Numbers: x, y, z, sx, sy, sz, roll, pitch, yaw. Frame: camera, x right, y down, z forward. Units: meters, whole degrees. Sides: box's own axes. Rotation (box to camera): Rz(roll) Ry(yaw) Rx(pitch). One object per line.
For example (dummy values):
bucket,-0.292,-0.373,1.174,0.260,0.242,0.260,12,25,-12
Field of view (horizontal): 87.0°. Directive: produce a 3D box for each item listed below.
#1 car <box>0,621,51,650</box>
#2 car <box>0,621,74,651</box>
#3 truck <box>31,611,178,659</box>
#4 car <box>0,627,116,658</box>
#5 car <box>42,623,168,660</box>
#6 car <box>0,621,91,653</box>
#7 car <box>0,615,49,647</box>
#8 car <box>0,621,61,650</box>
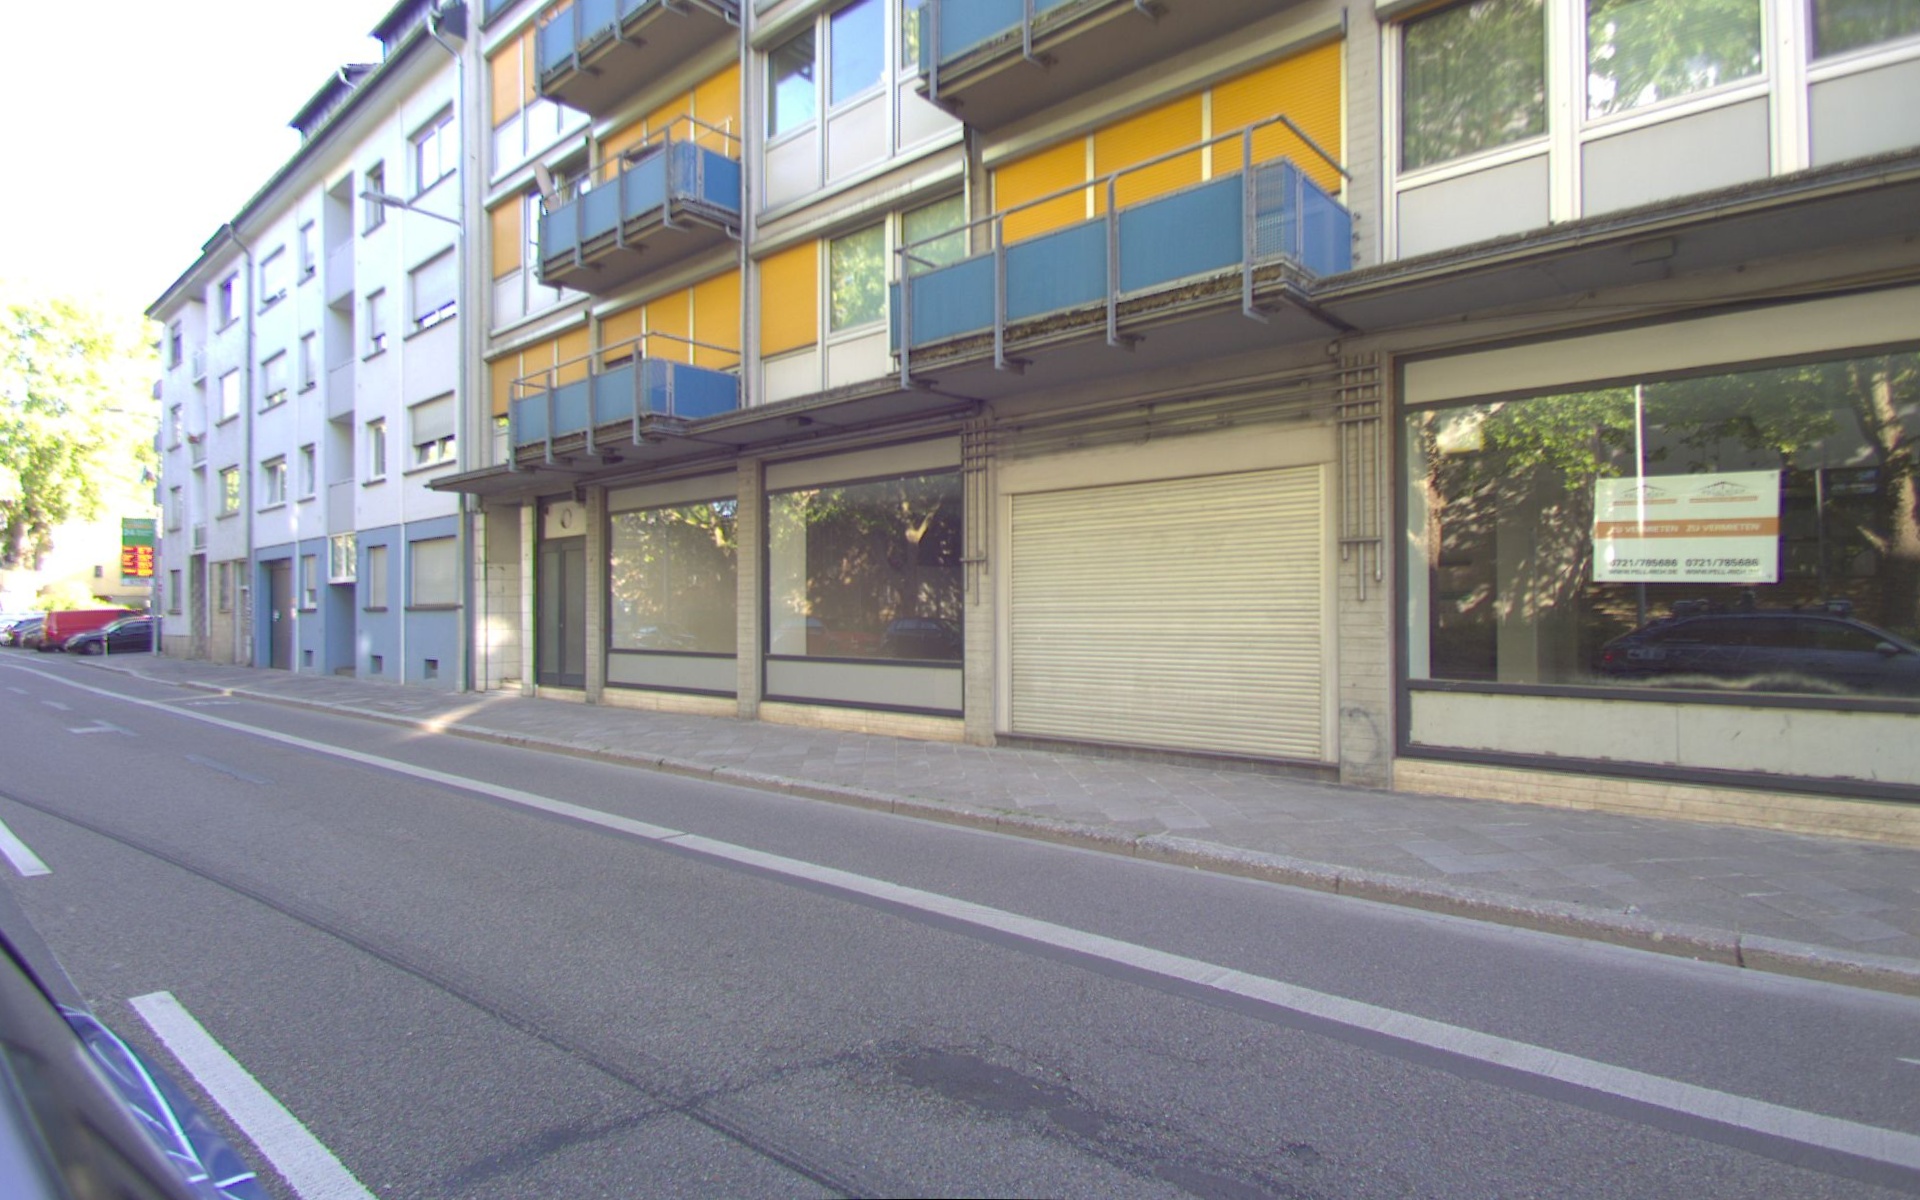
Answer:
car,-56.888,2.126,60.397,1.740,1.600,3.685,-1,0,35
car,-52.884,2.041,57.476,1.656,1.599,3.615,-1,0,35
truck,-40.351,1.586,47.840,1.998,2.036,5.024,-1,0,40
car,-43.269,2.012,48.566,1.904,1.282,3.983,-1,0,39
car,-36.900,1.768,43.745,1.780,1.404,3.947,-1,0,39
car,-50.823,2.008,55.972,1.699,1.640,3.952,-1,0,35
car,-59.759,1.972,63.839,1.693,1.953,3.224,-1,0,43
car,-55.068,2.086,59.005,1.715,1.594,3.660,-1,0,35
